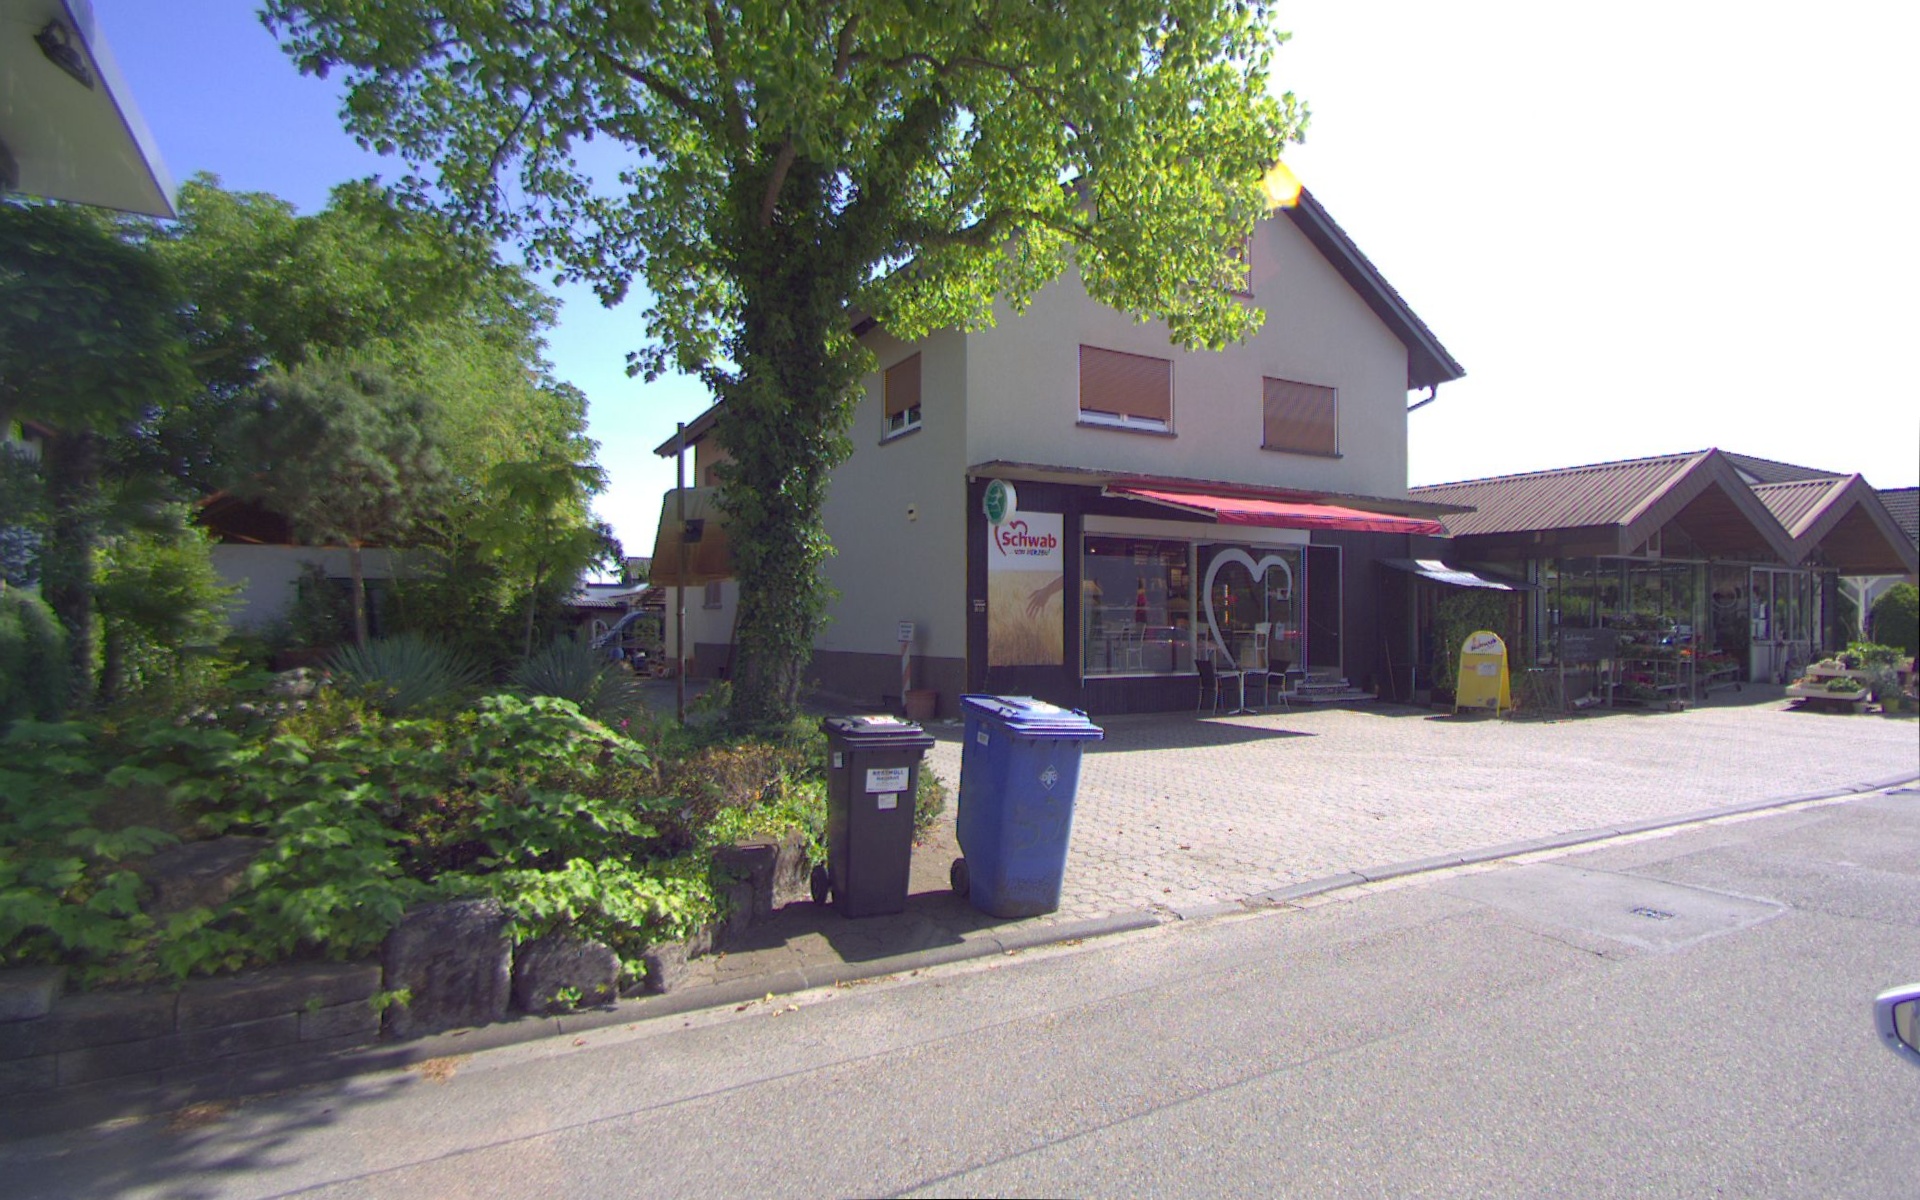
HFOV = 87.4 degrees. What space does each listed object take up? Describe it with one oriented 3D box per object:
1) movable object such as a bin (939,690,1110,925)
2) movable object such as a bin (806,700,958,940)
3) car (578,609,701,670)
[{"bbox_3d":[0.330,1.056,5.373,0.605,1.068,0.727,1,0,-30],"label":"movable object such as a bin"},{"bbox_3d":[-0.401,1.058,5.044,0.561,1.038,0.580,1,0,-30],"label":"movable object such as a bin"},{"bbox_3d":[-13.456,1.635,42.227,4.597,2.441,2.177,1,-2,-31],"label":"car"}]
